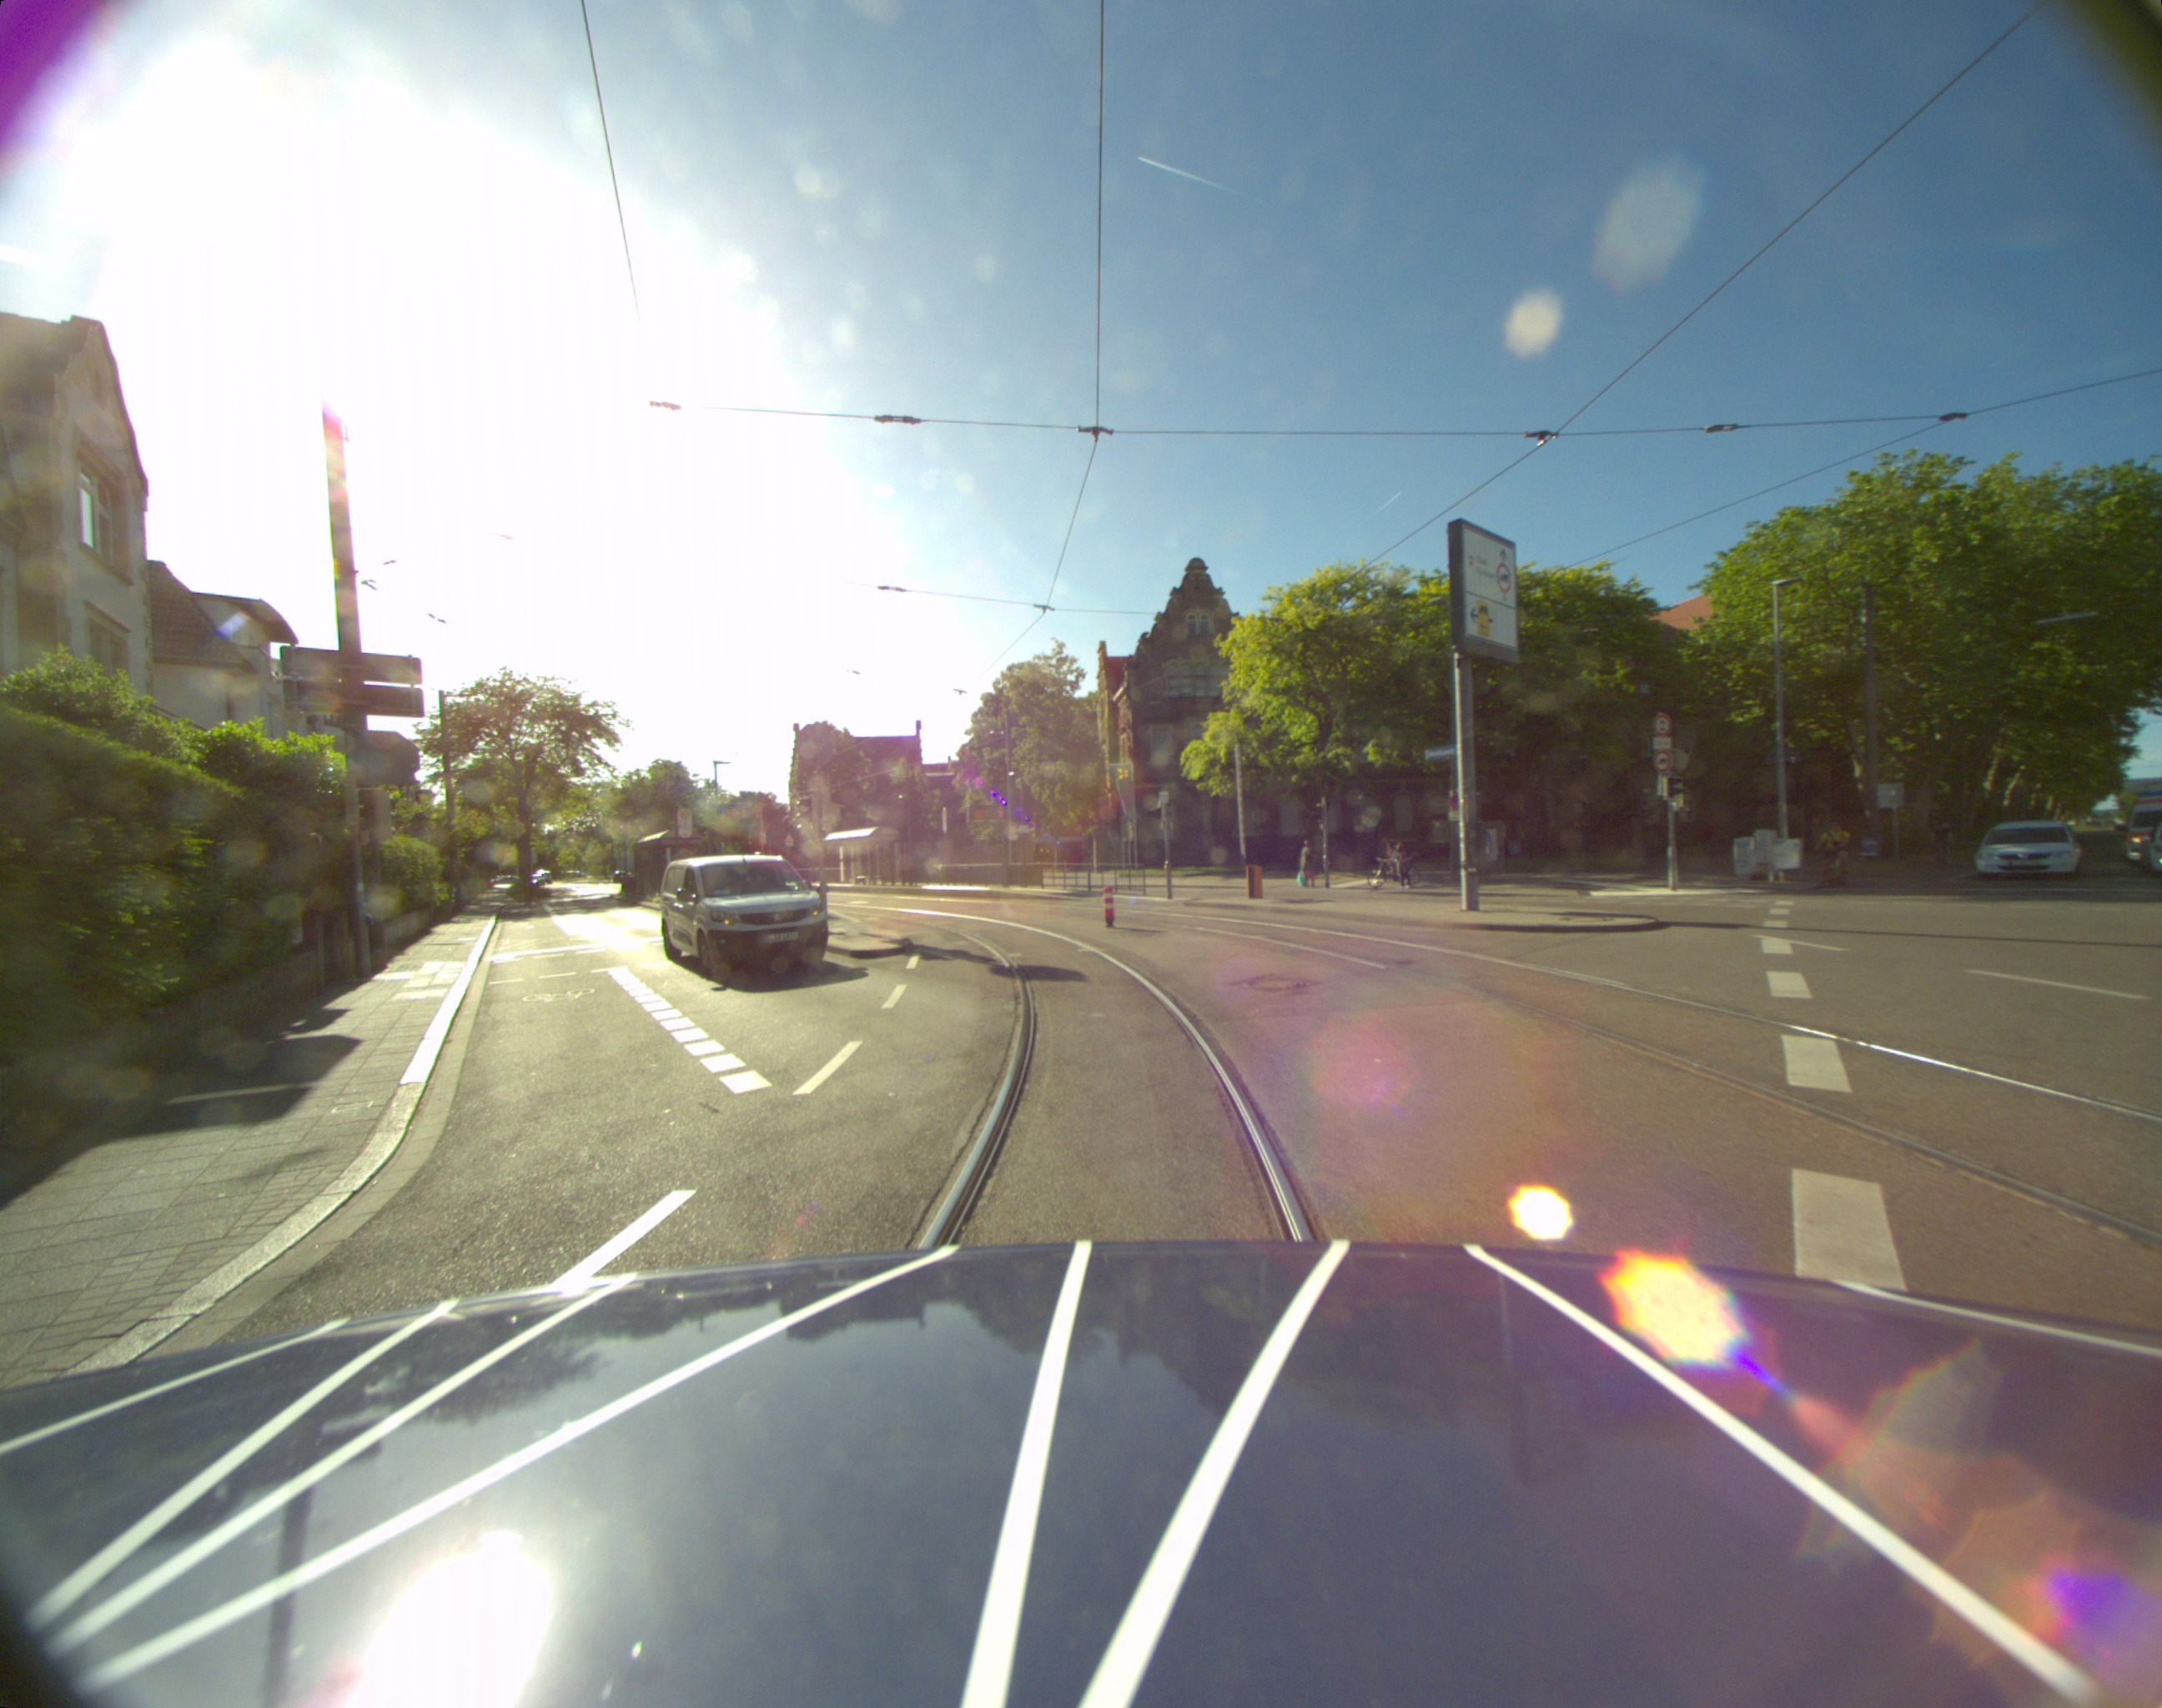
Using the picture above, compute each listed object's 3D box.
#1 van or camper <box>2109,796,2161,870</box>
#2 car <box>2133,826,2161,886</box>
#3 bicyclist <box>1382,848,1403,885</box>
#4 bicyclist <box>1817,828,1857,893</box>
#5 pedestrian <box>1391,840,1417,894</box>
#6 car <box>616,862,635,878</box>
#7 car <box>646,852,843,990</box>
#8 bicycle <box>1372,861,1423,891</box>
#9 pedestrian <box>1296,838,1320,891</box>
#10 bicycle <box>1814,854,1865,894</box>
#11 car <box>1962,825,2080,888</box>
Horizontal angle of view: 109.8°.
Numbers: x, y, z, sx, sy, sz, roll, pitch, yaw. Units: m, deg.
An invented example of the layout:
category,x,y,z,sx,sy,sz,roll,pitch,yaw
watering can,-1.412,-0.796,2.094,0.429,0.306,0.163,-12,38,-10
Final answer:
category,x,y,z,sx,sy,sz,roll,pitch,yaw
van or camper,36.463,-0.680,25.689,5.609,2.347,1.995,0,0,-37
car,29.475,0.016,20.045,4.042,1.539,1.980,-1,0,-36
bicyclist,10.811,0.435,26.341,0.617,1.277,0.479,-1,1,24
bicyclist,20.288,0.178,20.385,0.624,1.719,0.668,1,0,-37
pedestrian,10.633,0.423,25.012,0.668,1.736,0.487,-1,1,33
car,-61.220,2.086,102.172,2.003,2.002,3.991,-2,1,-30
car,-5.868,0.944,12.869,1.861,1.788,4.684,-5,3,-38
bicycle,10.944,0.777,26.296,1.589,0.991,0.480,-2,1,24
pedestrian,8.444,0.399,28.283,0.696,1.943,0.487,-1,1,33
bicycle,20.594,0.524,20.613,2.103,1.027,0.689,1,0,-37
car,26.568,0.061,21.442,4.580,1.608,1.908,-1,-1,-37
